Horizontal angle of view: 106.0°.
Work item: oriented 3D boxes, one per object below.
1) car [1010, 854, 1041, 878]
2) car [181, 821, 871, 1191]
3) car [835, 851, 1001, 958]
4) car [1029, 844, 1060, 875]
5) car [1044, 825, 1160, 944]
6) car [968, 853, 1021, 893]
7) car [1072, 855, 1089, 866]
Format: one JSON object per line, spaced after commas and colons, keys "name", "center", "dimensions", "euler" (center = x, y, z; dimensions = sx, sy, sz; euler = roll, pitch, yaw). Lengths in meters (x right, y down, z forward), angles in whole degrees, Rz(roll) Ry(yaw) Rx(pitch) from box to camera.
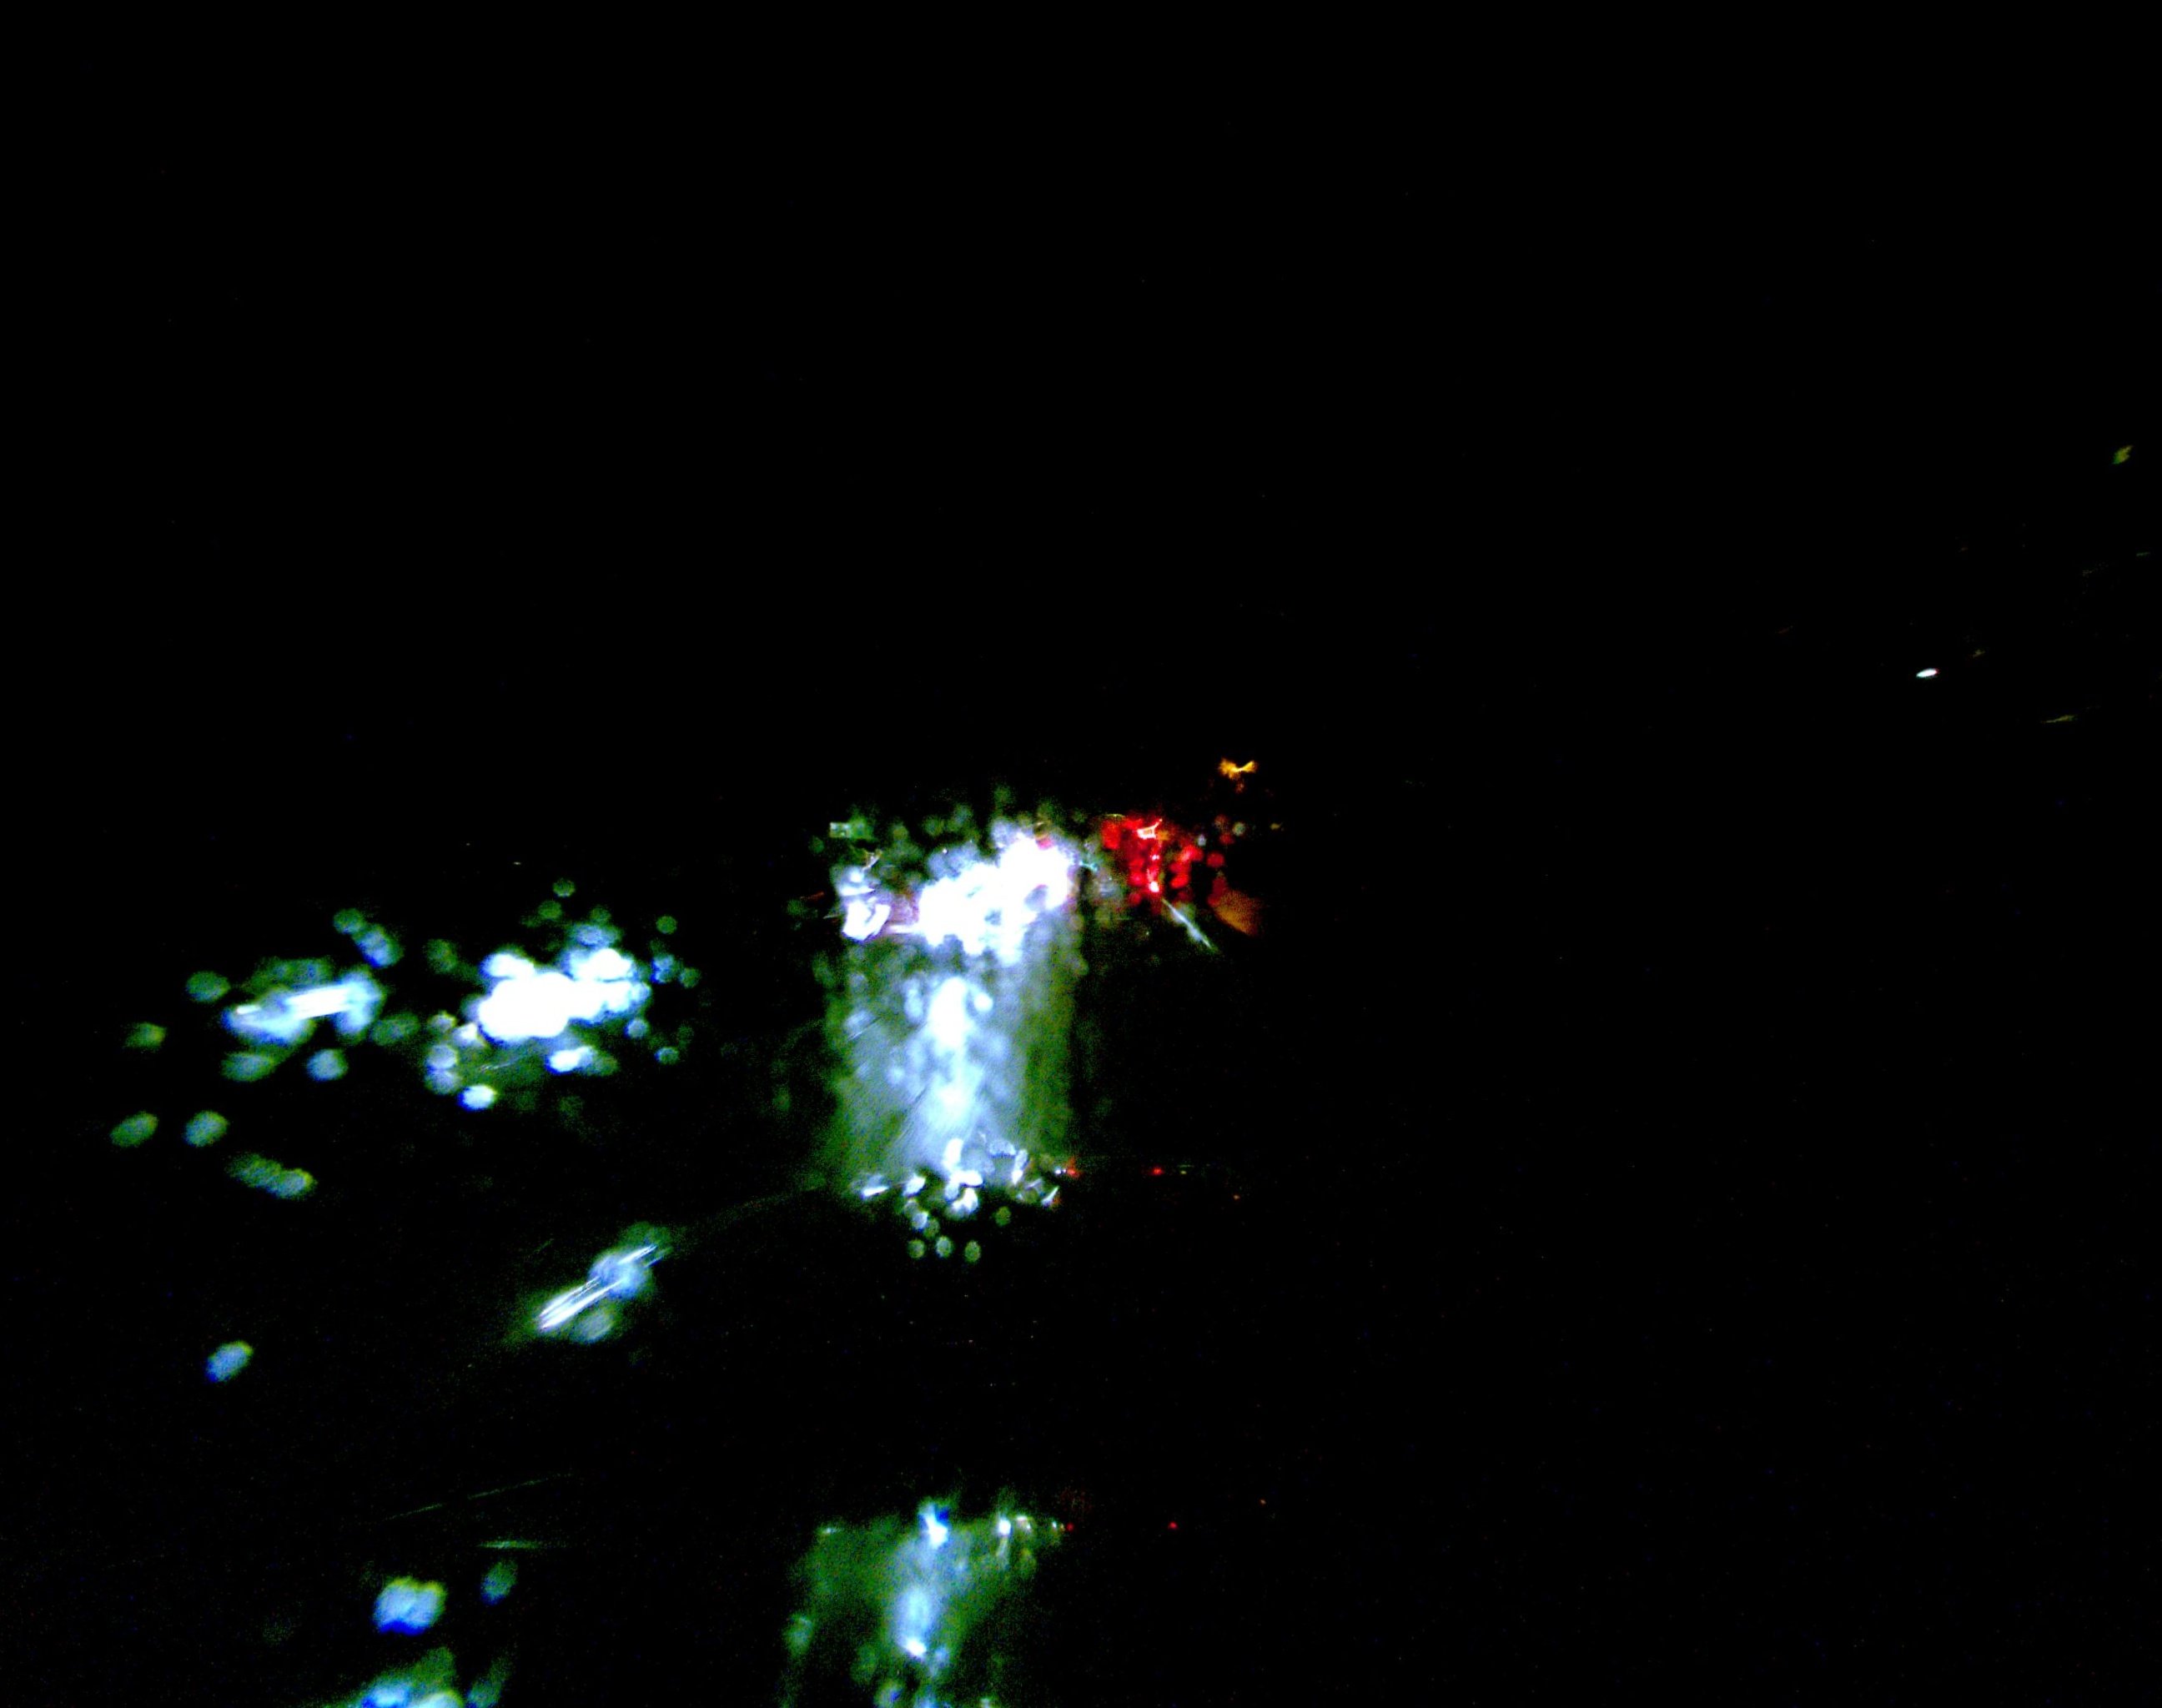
{"name": "car", "center": [-3.868, 0.812, 57.228], "dimensions": [1.713, 1.588, 4.315], "euler": [-1, 0, 3]}
{"name": "car", "center": [-3.112, 0.690, 5.935], "dimensions": [1.837, 1.668, 4.447], "euler": [-1, 0, 2]}
{"name": "car", "center": [-2.665, 0.751, 14.476], "dimensions": [1.837, 1.575, 4.599], "euler": [-1, 0, 2]}
{"name": "car", "center": [-3.260, 0.475, 73.691], "dimensions": [2.114, 2.707, 6.245], "euler": [-1, 0, 3]}
{"name": "car", "center": [0.405, 0.508, 15.810], "dimensions": [1.935, 1.972, 4.219], "euler": [-1, 0, 1]}
{"name": "car", "center": [-3.722, 0.800, 35.729], "dimensions": [1.799, 1.629, 4.415], "euler": [-1, 0, 0]}
{"name": "car", "center": [-0.050, 0.849, 110.583], "dimensions": [2.069, 1.449, 4.994], "euler": [-1, 0, 2]}
